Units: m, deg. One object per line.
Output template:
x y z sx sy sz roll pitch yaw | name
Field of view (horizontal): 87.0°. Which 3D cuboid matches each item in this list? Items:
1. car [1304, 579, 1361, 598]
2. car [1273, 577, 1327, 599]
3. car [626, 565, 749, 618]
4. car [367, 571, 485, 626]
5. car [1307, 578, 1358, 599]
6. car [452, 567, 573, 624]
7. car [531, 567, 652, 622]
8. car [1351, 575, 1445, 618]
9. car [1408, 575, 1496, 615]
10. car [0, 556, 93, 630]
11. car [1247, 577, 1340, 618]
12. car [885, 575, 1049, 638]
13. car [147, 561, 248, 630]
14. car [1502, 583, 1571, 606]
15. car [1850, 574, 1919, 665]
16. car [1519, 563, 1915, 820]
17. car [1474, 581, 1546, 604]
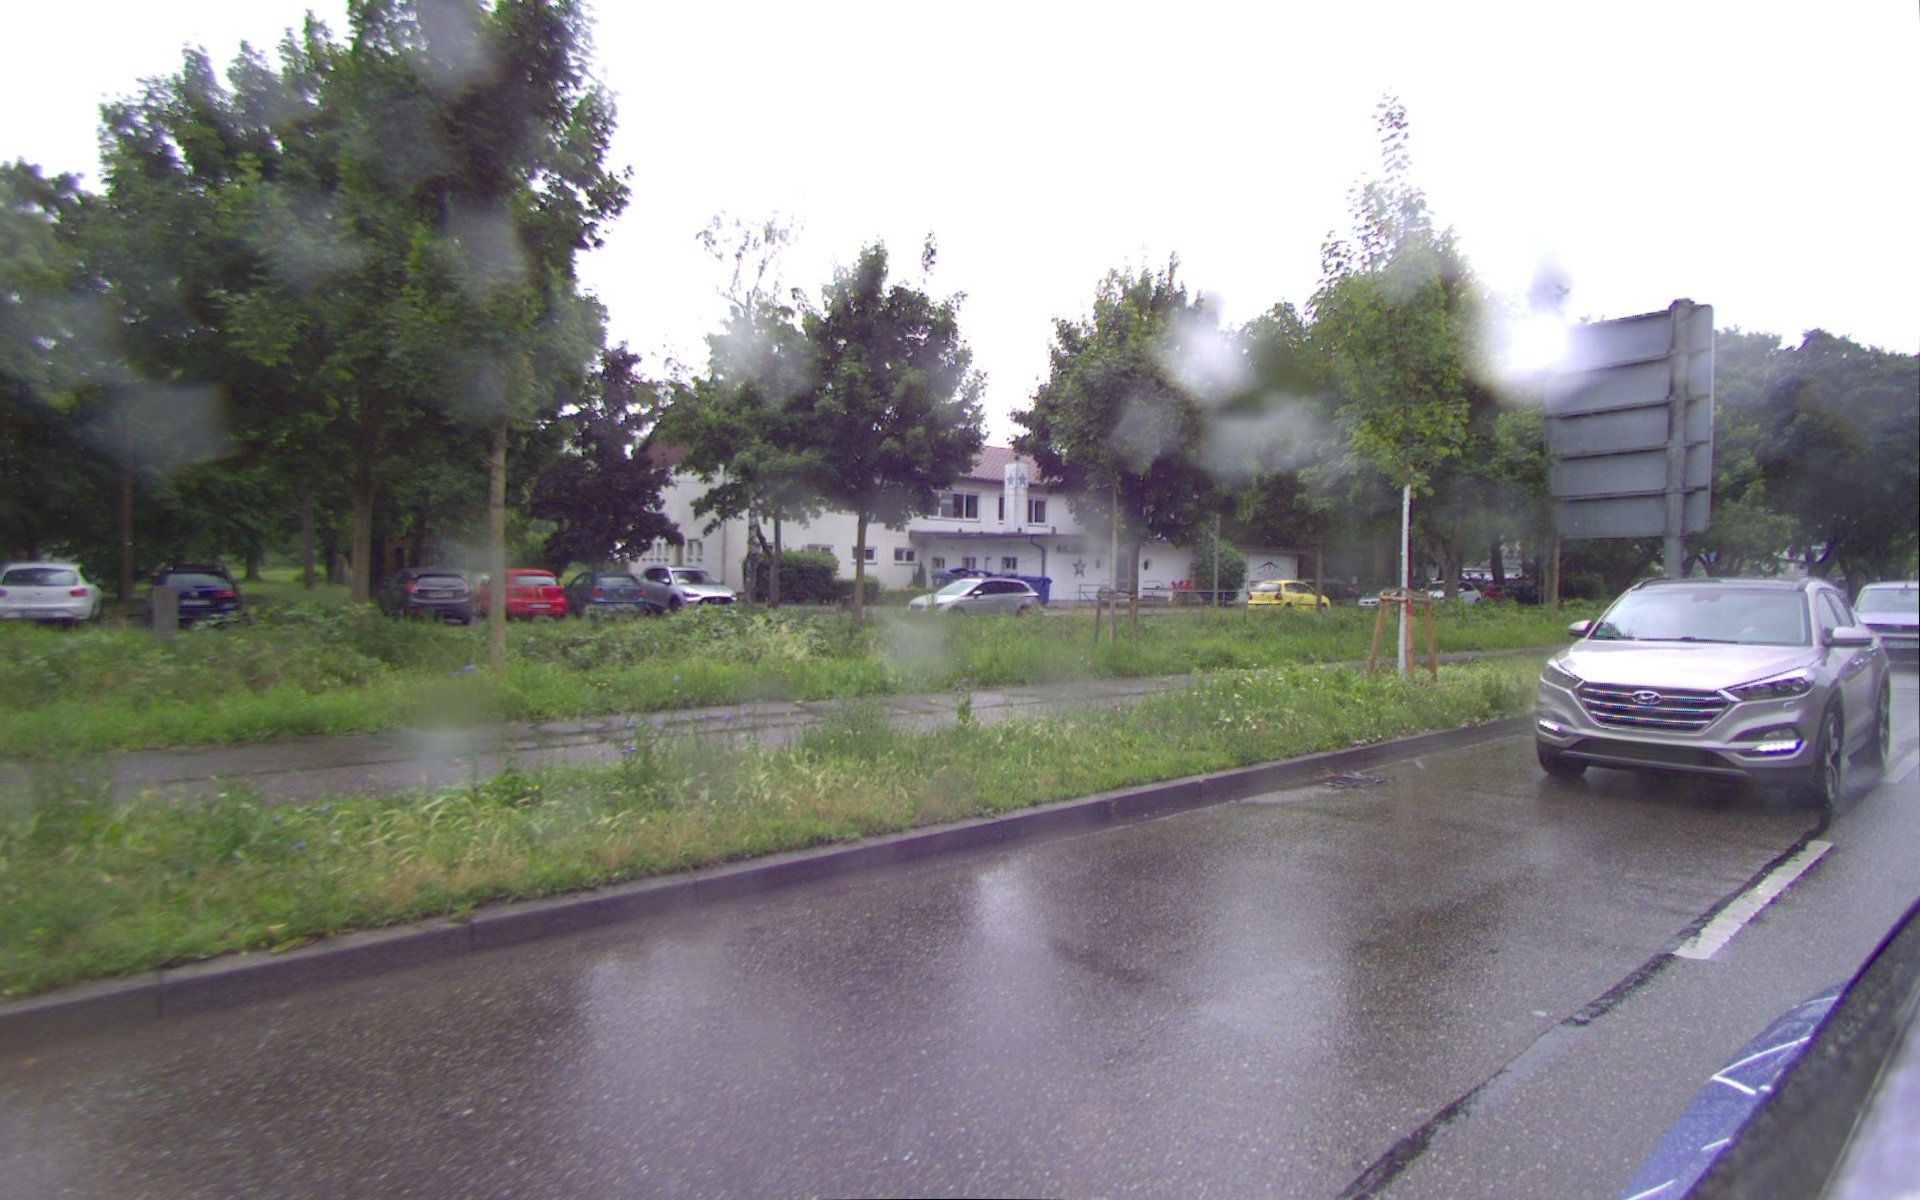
32.124 -0.975 87.356 1.865 1.630 4.294 -1 0 -37 | car
22.361 -0.817 66.478 3.931 1.403 1.586 -1 0 -42 | car
-8.428 -0.253 31.090 1.891 1.522 4.340 -1 0 -42 | car
-14.285 -0.044 26.970 1.836 1.357 4.184 -1 0 -42 | car
23.851 -0.727 64.775 3.639 1.332 1.574 -1 1 -42 | car
-12.813 -0.132 28.835 1.912 1.502 4.340 -1 0 -42 | car
-11.071 -0.162 30.252 1.912 1.502 4.340 -1 0 -42 | car
19.096 -0.199 44.045 4.561 1.738 1.997 -1 3 -41 | car
23.222 -0.284 47.722 4.794 1.738 1.997 -1 3 -41 | car
-20.291 -0.140 22.305 1.730 1.502 4.194 -1 0 -42 | car
13.011 -0.112 39.382 4.002 1.505 1.640 -1 0 -41 | car
0.255 0.124 29.376 4.558 1.645 1.999 -1 2 -39 | car
-18.024 -0.103 23.858 1.758 1.478 4.139 -1 0 -39 | car
35.442 -0.328 62.254 3.329 1.369 1.522 -1 0 6 | car
20.753 0.372 21.591 4.481 1.818 1.997 -1 0 -40 | car
6.480 0.544 8.494 4.123 1.630 1.887 -1 1 -42 | car
35.532 -0.484 65.409 3.681 1.467 1.670 -1 0 0 | car
